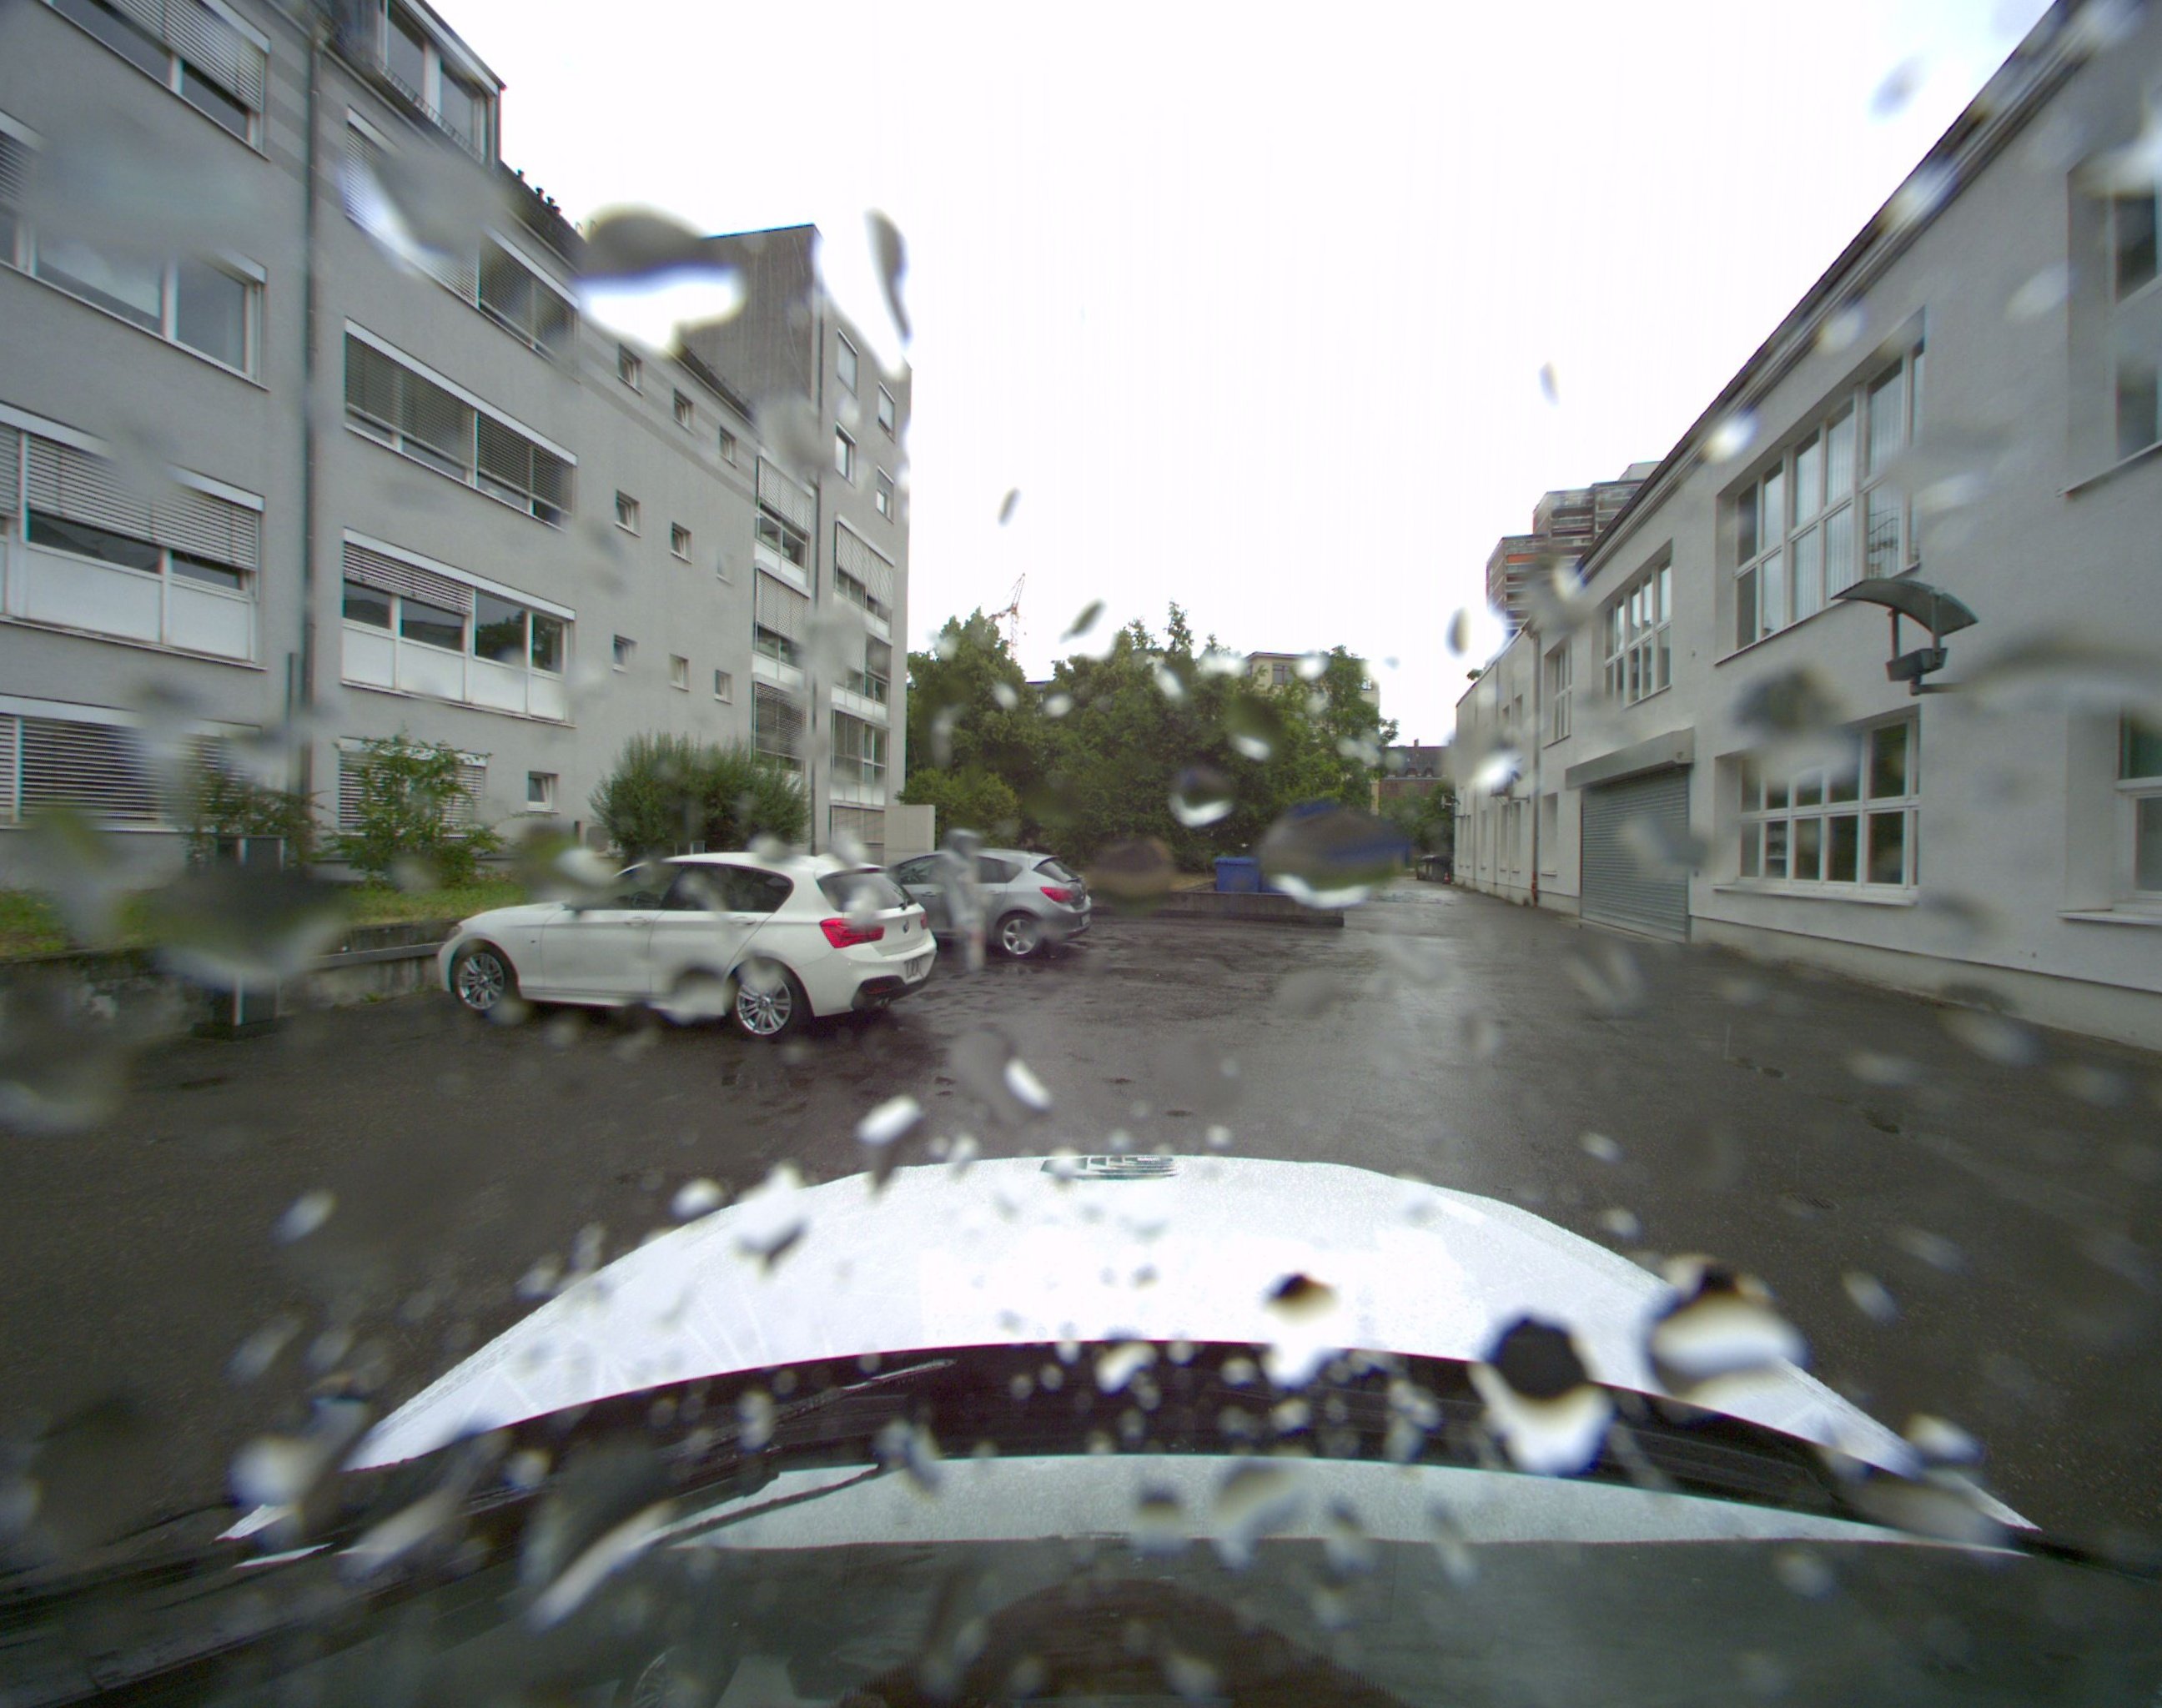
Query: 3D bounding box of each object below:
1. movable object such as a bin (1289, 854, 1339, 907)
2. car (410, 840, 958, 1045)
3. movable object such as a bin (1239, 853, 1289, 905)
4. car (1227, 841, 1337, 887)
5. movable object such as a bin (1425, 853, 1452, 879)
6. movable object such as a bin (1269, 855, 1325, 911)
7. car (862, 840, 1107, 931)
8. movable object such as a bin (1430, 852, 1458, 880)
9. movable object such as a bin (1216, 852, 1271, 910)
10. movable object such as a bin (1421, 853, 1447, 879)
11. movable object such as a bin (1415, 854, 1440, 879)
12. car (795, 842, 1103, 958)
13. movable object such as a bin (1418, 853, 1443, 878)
[{"bbox_3d":[6.262,0.688,21.853,1.212,1.337,1.011,1,1,18],"label":"movable object such as a bin"},{"bbox_3d":[-3.376,0.642,7.226,4.111,1.433,1.759,1,0,12],"label":"car"},{"bbox_3d":[4.988,0.655,22.186,1.212,1.337,1.011,1,1,18],"label":"movable object such as a bin"},{"bbox_3d":[9.224,0.410,37.250,4.742,2.013,2.010,0,0,18],"label":"car"},{"bbox_3d":[19.904,0.672,45.405,1.205,1.437,1.299,1,-2,16],"label":"movable object such as a bin"},{"bbox_3d":[5.402,0.709,20.355,1.192,1.337,1.122,1,0,22],"label":"movable object such as a bin"},{"bbox_3d":[-1.771,0.522,15.380,4.136,1.333,1.829,3,2,13],"label":"car"},{"bbox_3d":[19.490,0.661,43.754,1.205,1.437,1.241,1,-2,15],"label":"movable object such as a bin"},{"bbox_3d":[4.142,0.653,20.722,1.193,1.336,1.122,3,3,18],"label":"movable object such as a bin"},{"bbox_3d":[20.392,0.693,47.031,1.205,1.468,1.241,1,-2,15],"label":"movable object such as a bin"},{"bbox_3d":[21.137,0.759,49.697,1.205,1.437,1.264,1,-2,16],"label":"movable object such as a bin"},{"bbox_3d":[-1.890,0.601,12.206,4.137,1.483,1.828,1,1,12],"label":"car"},{"bbox_3d":[20.745,0.708,48.369,1.205,1.437,1.264,1,-2,16],"label":"movable object such as a bin"}]
